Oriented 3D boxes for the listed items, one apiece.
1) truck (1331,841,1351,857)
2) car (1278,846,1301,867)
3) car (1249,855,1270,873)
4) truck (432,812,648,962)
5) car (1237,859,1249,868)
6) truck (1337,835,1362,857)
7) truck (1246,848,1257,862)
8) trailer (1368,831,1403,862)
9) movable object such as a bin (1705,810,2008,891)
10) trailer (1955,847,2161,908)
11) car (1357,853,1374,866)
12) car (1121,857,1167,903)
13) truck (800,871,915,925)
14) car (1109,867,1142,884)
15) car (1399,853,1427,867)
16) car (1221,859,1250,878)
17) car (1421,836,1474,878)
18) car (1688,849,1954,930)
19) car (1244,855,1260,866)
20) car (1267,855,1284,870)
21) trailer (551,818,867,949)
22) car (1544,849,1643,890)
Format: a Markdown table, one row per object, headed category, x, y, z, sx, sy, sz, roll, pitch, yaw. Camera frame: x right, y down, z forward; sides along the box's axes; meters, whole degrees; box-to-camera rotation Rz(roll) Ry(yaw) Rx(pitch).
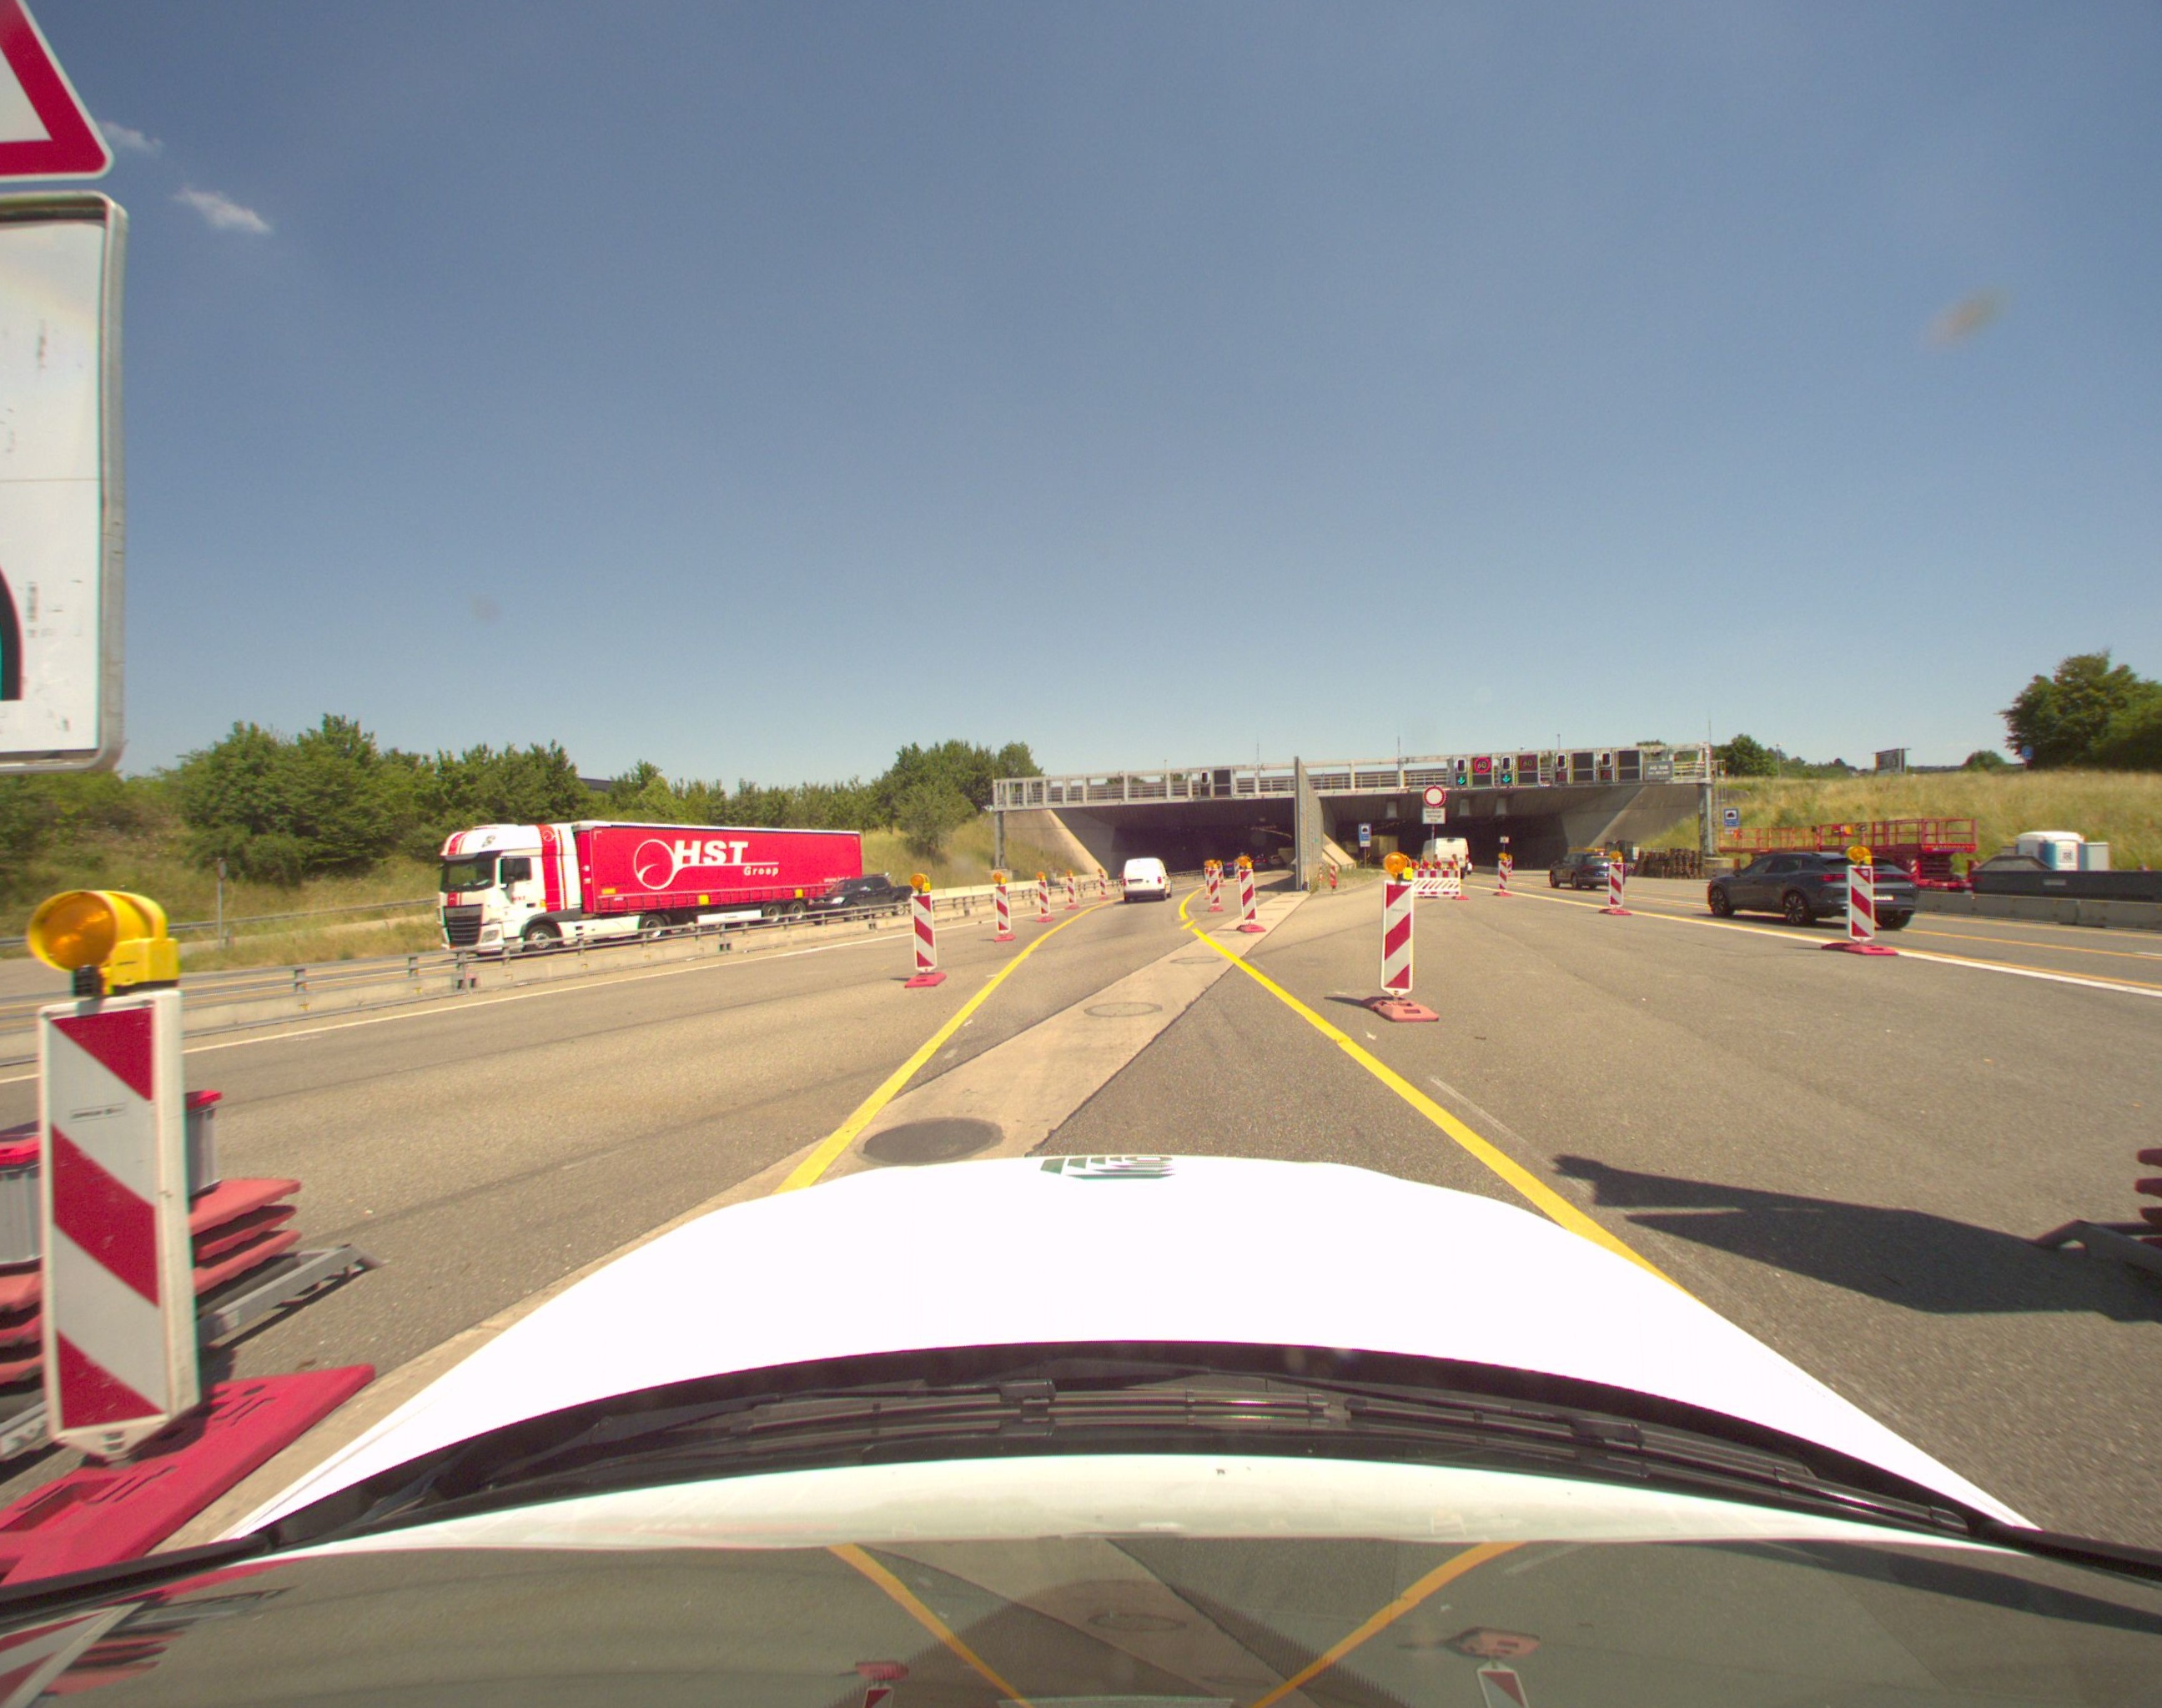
| category | x | y | z | sx | sy | sz | roll | pitch | yaw |
| --- | --- | --- | --- | --- | --- | --- | --- | --- | --- |
| truck | 69.421 | -1.239 | 217.754 | 3.379 | 4.071 | 16.591 | 0 | -1 | 12 |
| car | 30.559 | 0.422 | 119.427 | 2.792 | 2.774 | 7.132 | -3 | -2 | 17 |
| car | 18.866 | 1.016 | 85.967 | 1.795 | 1.815 | 4.428 | -2 | -1 | 16 |
| truck | -16.397 | 0.951 | 25.043 | 2.314 | 4.108 | 5.043 | -3 | -1 | 21 |
| car | 31.899 | 1.865 | 160.264 | 1.760 | 1.666 | 4.828 | -5 | -1 | 16 |
| truck | 58.459 | -1.604 | 177.767 | 3.379 | 4.335 | 16.590 | 0 | -2 | 12 |
| truck | 52.028 | 0.285 | 248.298 | 2.789 | 3.915 | 6.481 | -4 | -1 | 15 |
| trailer | 43.014 | -0.923 | 115.381 | 2.714 | 4.062 | 14.142 | 0 | -1 | 13 |
| movable object such as a bin | 35.456 | -0.030 | 38.712 | 3.090 | 3.011 | 14.749 | -3 | -1 | 12 |
| trailer | 30.610 | 0.635 | 24.457 | 2.580 | 1.569 | 6.250 | -3 | -1 | 8 |
| car | 36.503 | 0.751 | 104.511 | 1.801 | 1.642 | 4.671 | 0 | -1 | 16 |
| car | 2.700 | 1.100 | 35.159 | 1.801 | 1.794 | 3.734 | -2 | -1 | 3 |
| truck | -9.063 | 1.732 | 33.427 | 1.976 | 1.873 | 4.787 | -3 | 0 | 22 |
| car | 4.282 | 2.060 | 78.369 | 1.672 | 1.395 | 4.023 | -5 | -2 | 25 |
| car | 35.519 | 0.647 | 87.160 | 1.804 | 1.465 | 4.665 | 0 | -1 | 10 |
| car | 13.227 | 1.193 | 69.647 | 1.794 | 1.537 | 4.430 | -2 | -1 | 19 |
| car | 24.060 | 0.241 | 53.678 | 2.248 | 2.536 | 6.613 | -1 | -1 | 16 |
| car | 15.469 | 0.678 | 17.465 | 1.981 | 1.486 | 4.689 | 0 | -1 | 9 |
| car | 28.743 | 1.090 | 136.798 | 1.759 | 1.593 | 5.010 | -5 | -1 | 20 |
| car | 24.006 | 1.071 | 100.615 | 1.795 | 1.751 | 4.428 | -2 | -1 | 16 |
| trailer | -13.586 | 1.002 | 32.182 | 2.317 | 4.102 | 13.331 | -3 | -1 | 22 |
| car | 22.338 | 0.678 | 35.733 | 2.005 | 1.663 | 5.255 | -1 | -1 | 12 |
